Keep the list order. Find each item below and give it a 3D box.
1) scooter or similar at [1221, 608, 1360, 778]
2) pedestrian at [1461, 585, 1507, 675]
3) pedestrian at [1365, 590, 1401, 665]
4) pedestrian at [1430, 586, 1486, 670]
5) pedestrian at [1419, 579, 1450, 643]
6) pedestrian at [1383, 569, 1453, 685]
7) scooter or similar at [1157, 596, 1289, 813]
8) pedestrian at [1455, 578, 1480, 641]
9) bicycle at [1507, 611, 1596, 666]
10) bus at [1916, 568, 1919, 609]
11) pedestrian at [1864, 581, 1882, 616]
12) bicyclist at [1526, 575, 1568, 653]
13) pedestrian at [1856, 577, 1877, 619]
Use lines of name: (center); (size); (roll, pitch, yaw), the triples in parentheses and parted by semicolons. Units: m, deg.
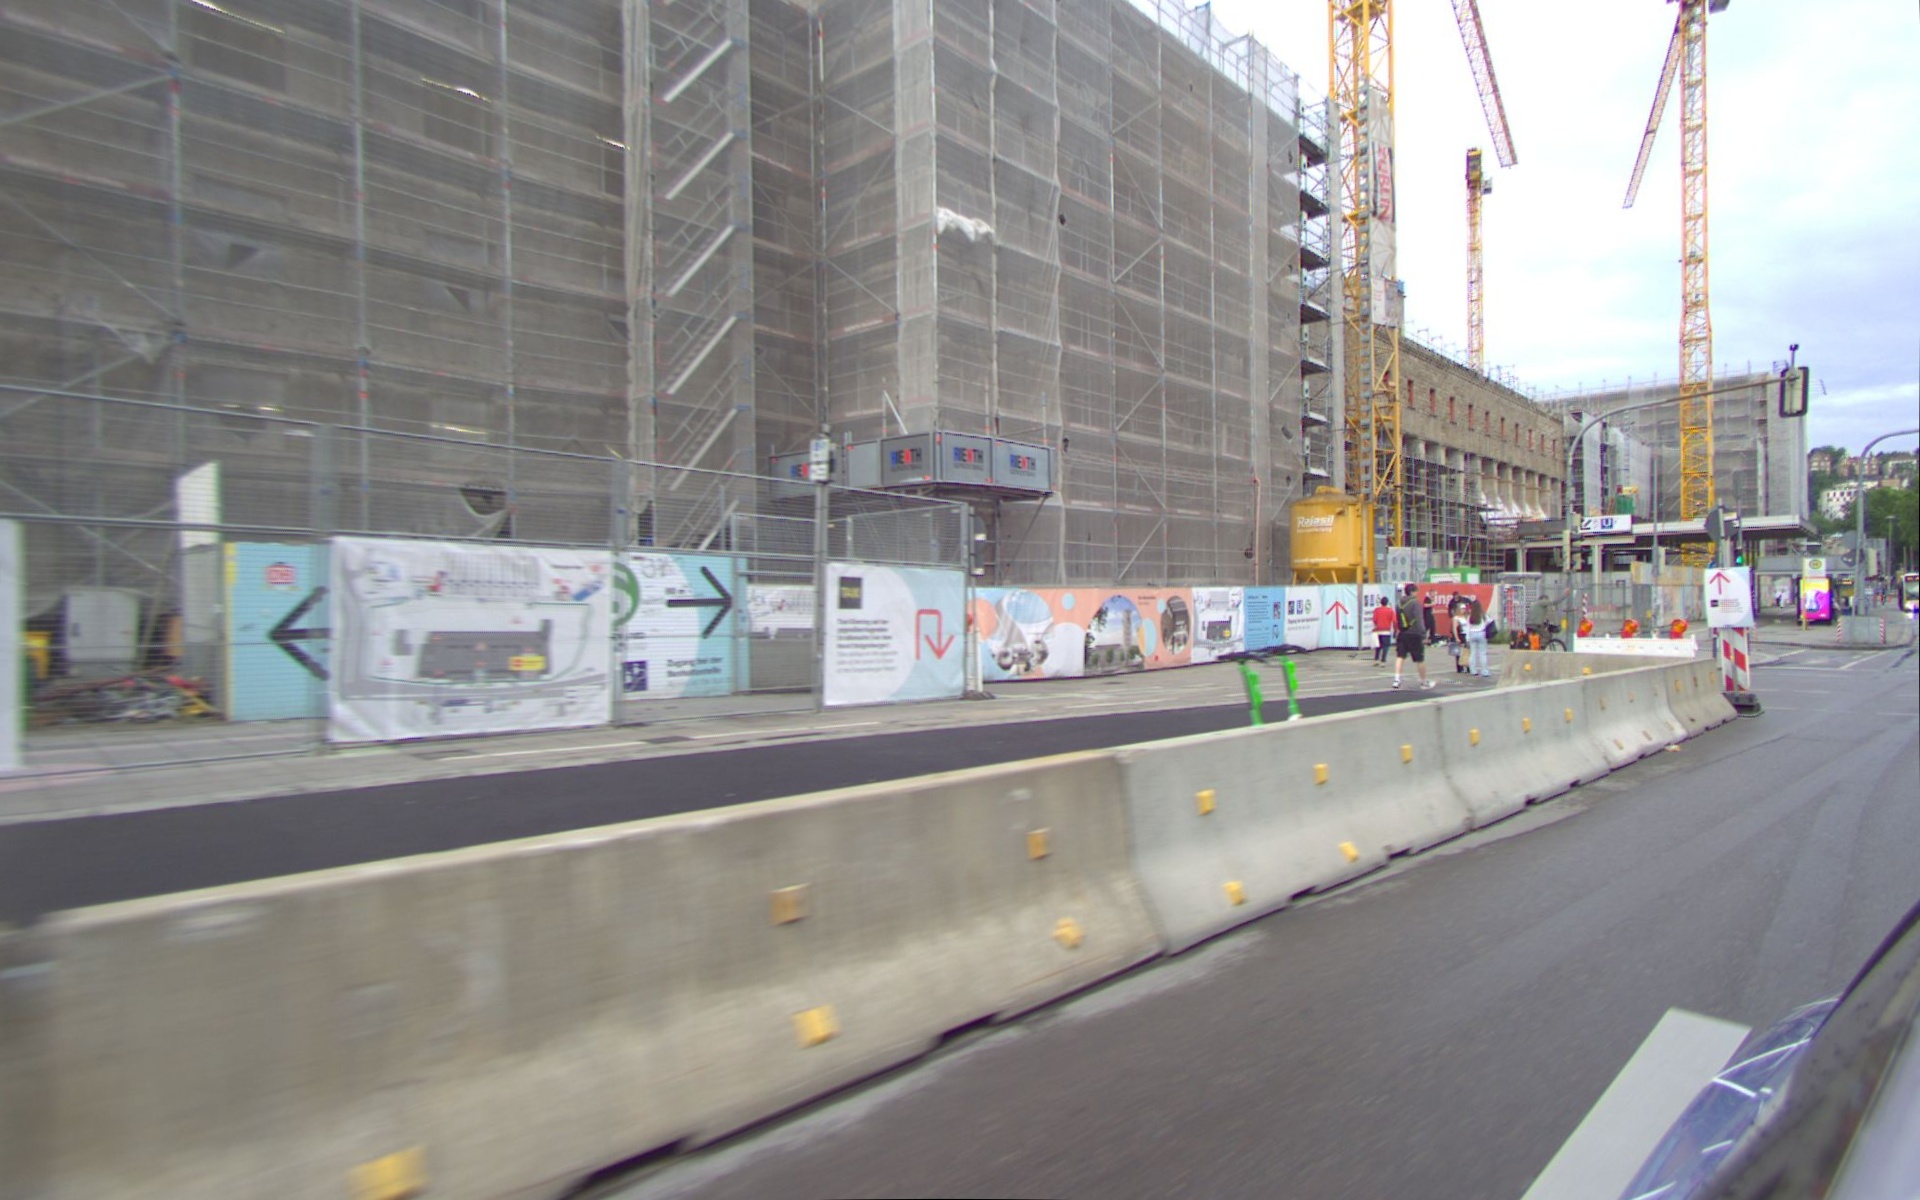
scooter or similar: (2.772, 0.748, 8.493); (1.003, 1.350, 0.494); (0, 0, -18)
pedestrian: (10.919, 0.599, 21.098); (0.798, 1.776, 0.808); (2, 4, 28)
pedestrian: (10.136, 0.643, 24.225); (0.735, 1.749, 0.708); (-1, -1, 26)
pedestrian: (10.806, 0.578, 21.977); (0.866, 1.778, 0.815); (0, 0, -40)
pedestrian: (15.204, 0.352, 32.460); (0.615, 2.039, 0.642); (0, 0, -21)
pedestrian: (8.293, 0.487, 18.317); (0.849, 2.037, 0.789); (4, -2, -36)
scooter or similar: (1.805, 0.652, 6.889); (0.523, 1.350, 1.011); (0, 0, 38)
pedestrian: (16.618, 0.314, 33.151); (0.618, 2.039, 0.576); (0, 0, 13)
bicycle: (13.271, 0.847, 22.700); (1.951, 1.148, 0.757); (0, 0, -26)
bus: (77.286, -0.924, 79.539); (2.990, 3.177, 7.646); (0, 0, 42)
pedestrian: (49.350, -0.094, 54.713); (0.722, 1.846, 0.645); (0, 0, -41)
bicyclist: (13.108, 0.307, 22.617); (0.425, 1.726, 0.698); (0, 0, -27)
pedestrian: (44.140, -0.108, 49.274); (0.731, 2.039, 0.637); (0, 0, 39)
